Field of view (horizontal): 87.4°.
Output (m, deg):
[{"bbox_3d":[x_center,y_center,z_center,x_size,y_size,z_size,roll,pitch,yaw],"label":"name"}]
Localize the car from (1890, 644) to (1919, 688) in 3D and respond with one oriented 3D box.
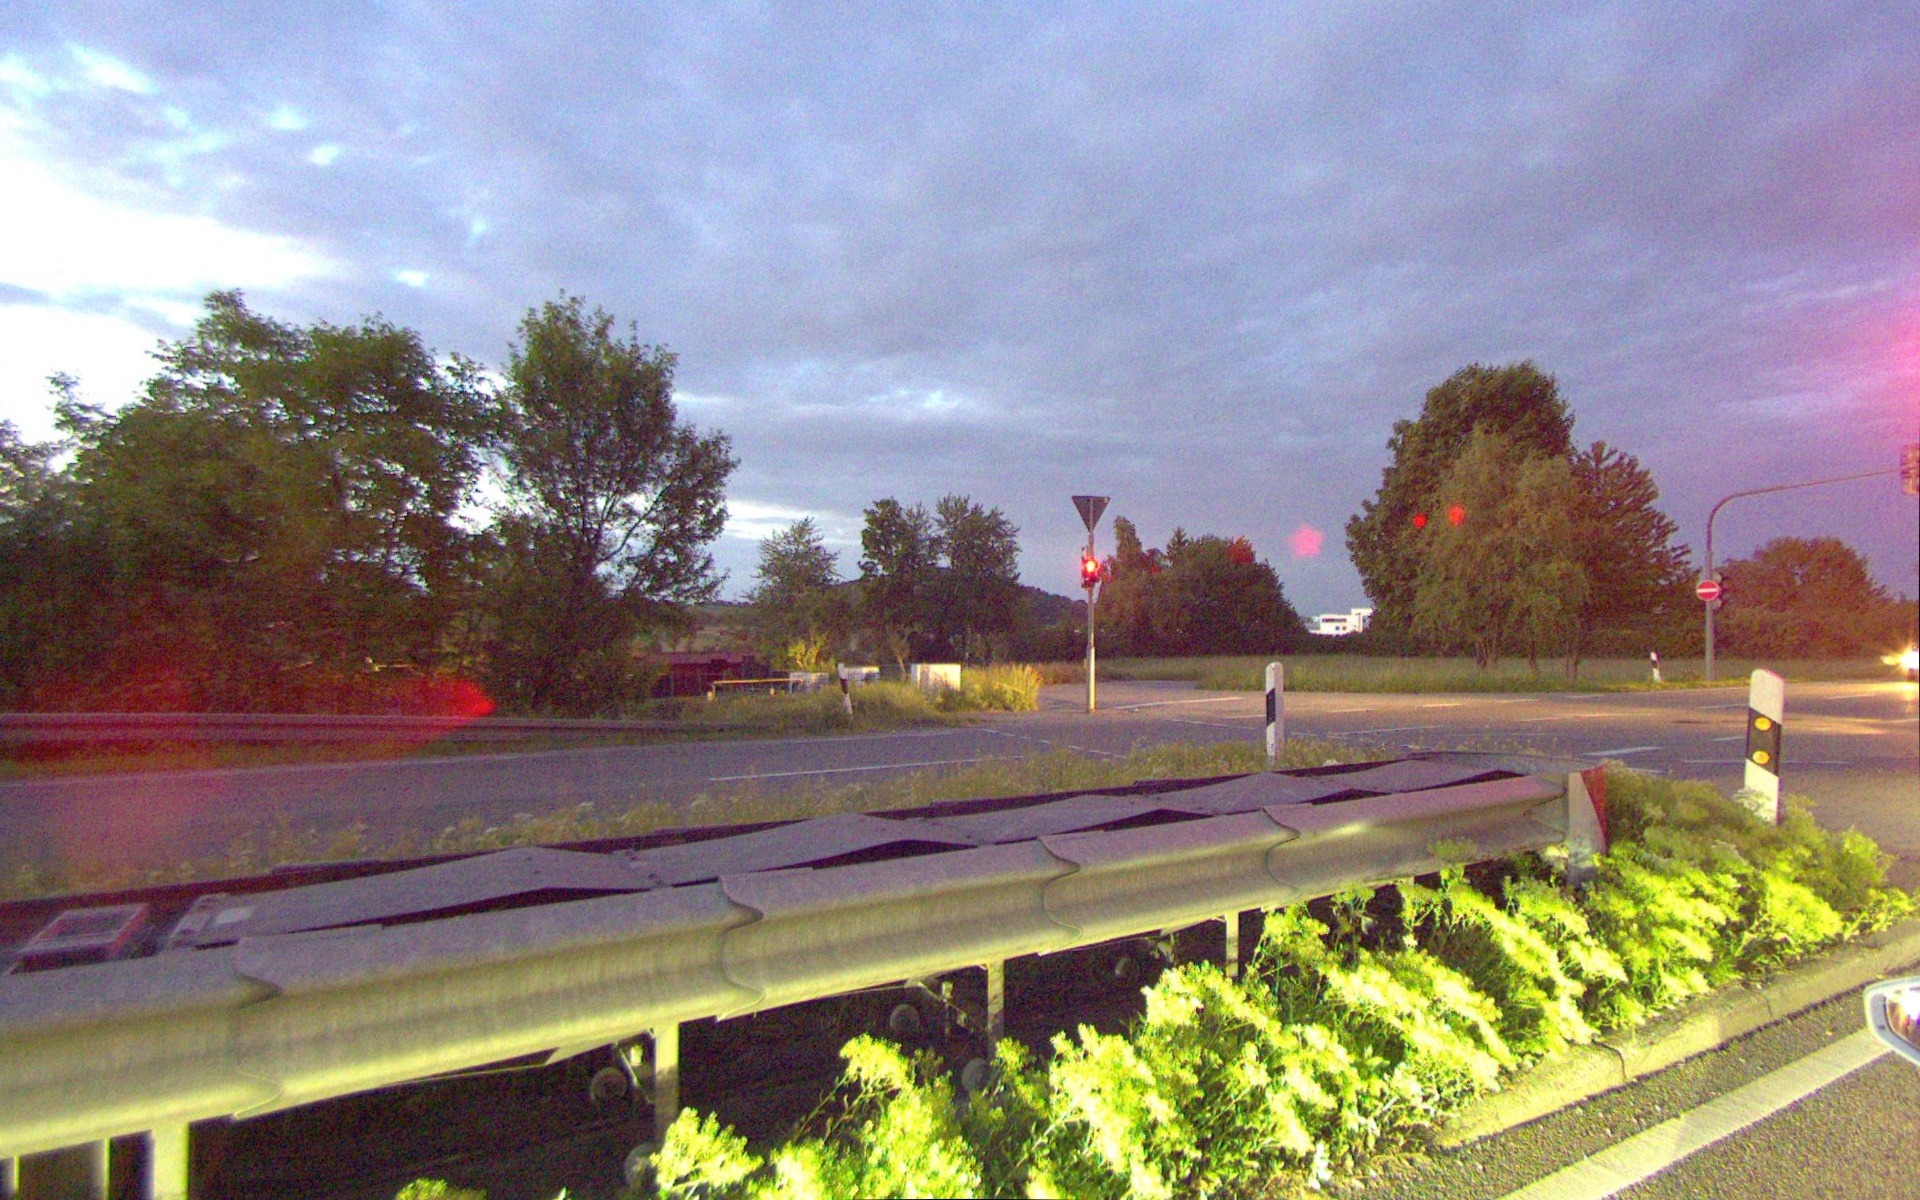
[{"bbox_3d":[32.390,2.111,33.016,3.547,1.394,1.622,1,-6,-30],"label":"car"}]
